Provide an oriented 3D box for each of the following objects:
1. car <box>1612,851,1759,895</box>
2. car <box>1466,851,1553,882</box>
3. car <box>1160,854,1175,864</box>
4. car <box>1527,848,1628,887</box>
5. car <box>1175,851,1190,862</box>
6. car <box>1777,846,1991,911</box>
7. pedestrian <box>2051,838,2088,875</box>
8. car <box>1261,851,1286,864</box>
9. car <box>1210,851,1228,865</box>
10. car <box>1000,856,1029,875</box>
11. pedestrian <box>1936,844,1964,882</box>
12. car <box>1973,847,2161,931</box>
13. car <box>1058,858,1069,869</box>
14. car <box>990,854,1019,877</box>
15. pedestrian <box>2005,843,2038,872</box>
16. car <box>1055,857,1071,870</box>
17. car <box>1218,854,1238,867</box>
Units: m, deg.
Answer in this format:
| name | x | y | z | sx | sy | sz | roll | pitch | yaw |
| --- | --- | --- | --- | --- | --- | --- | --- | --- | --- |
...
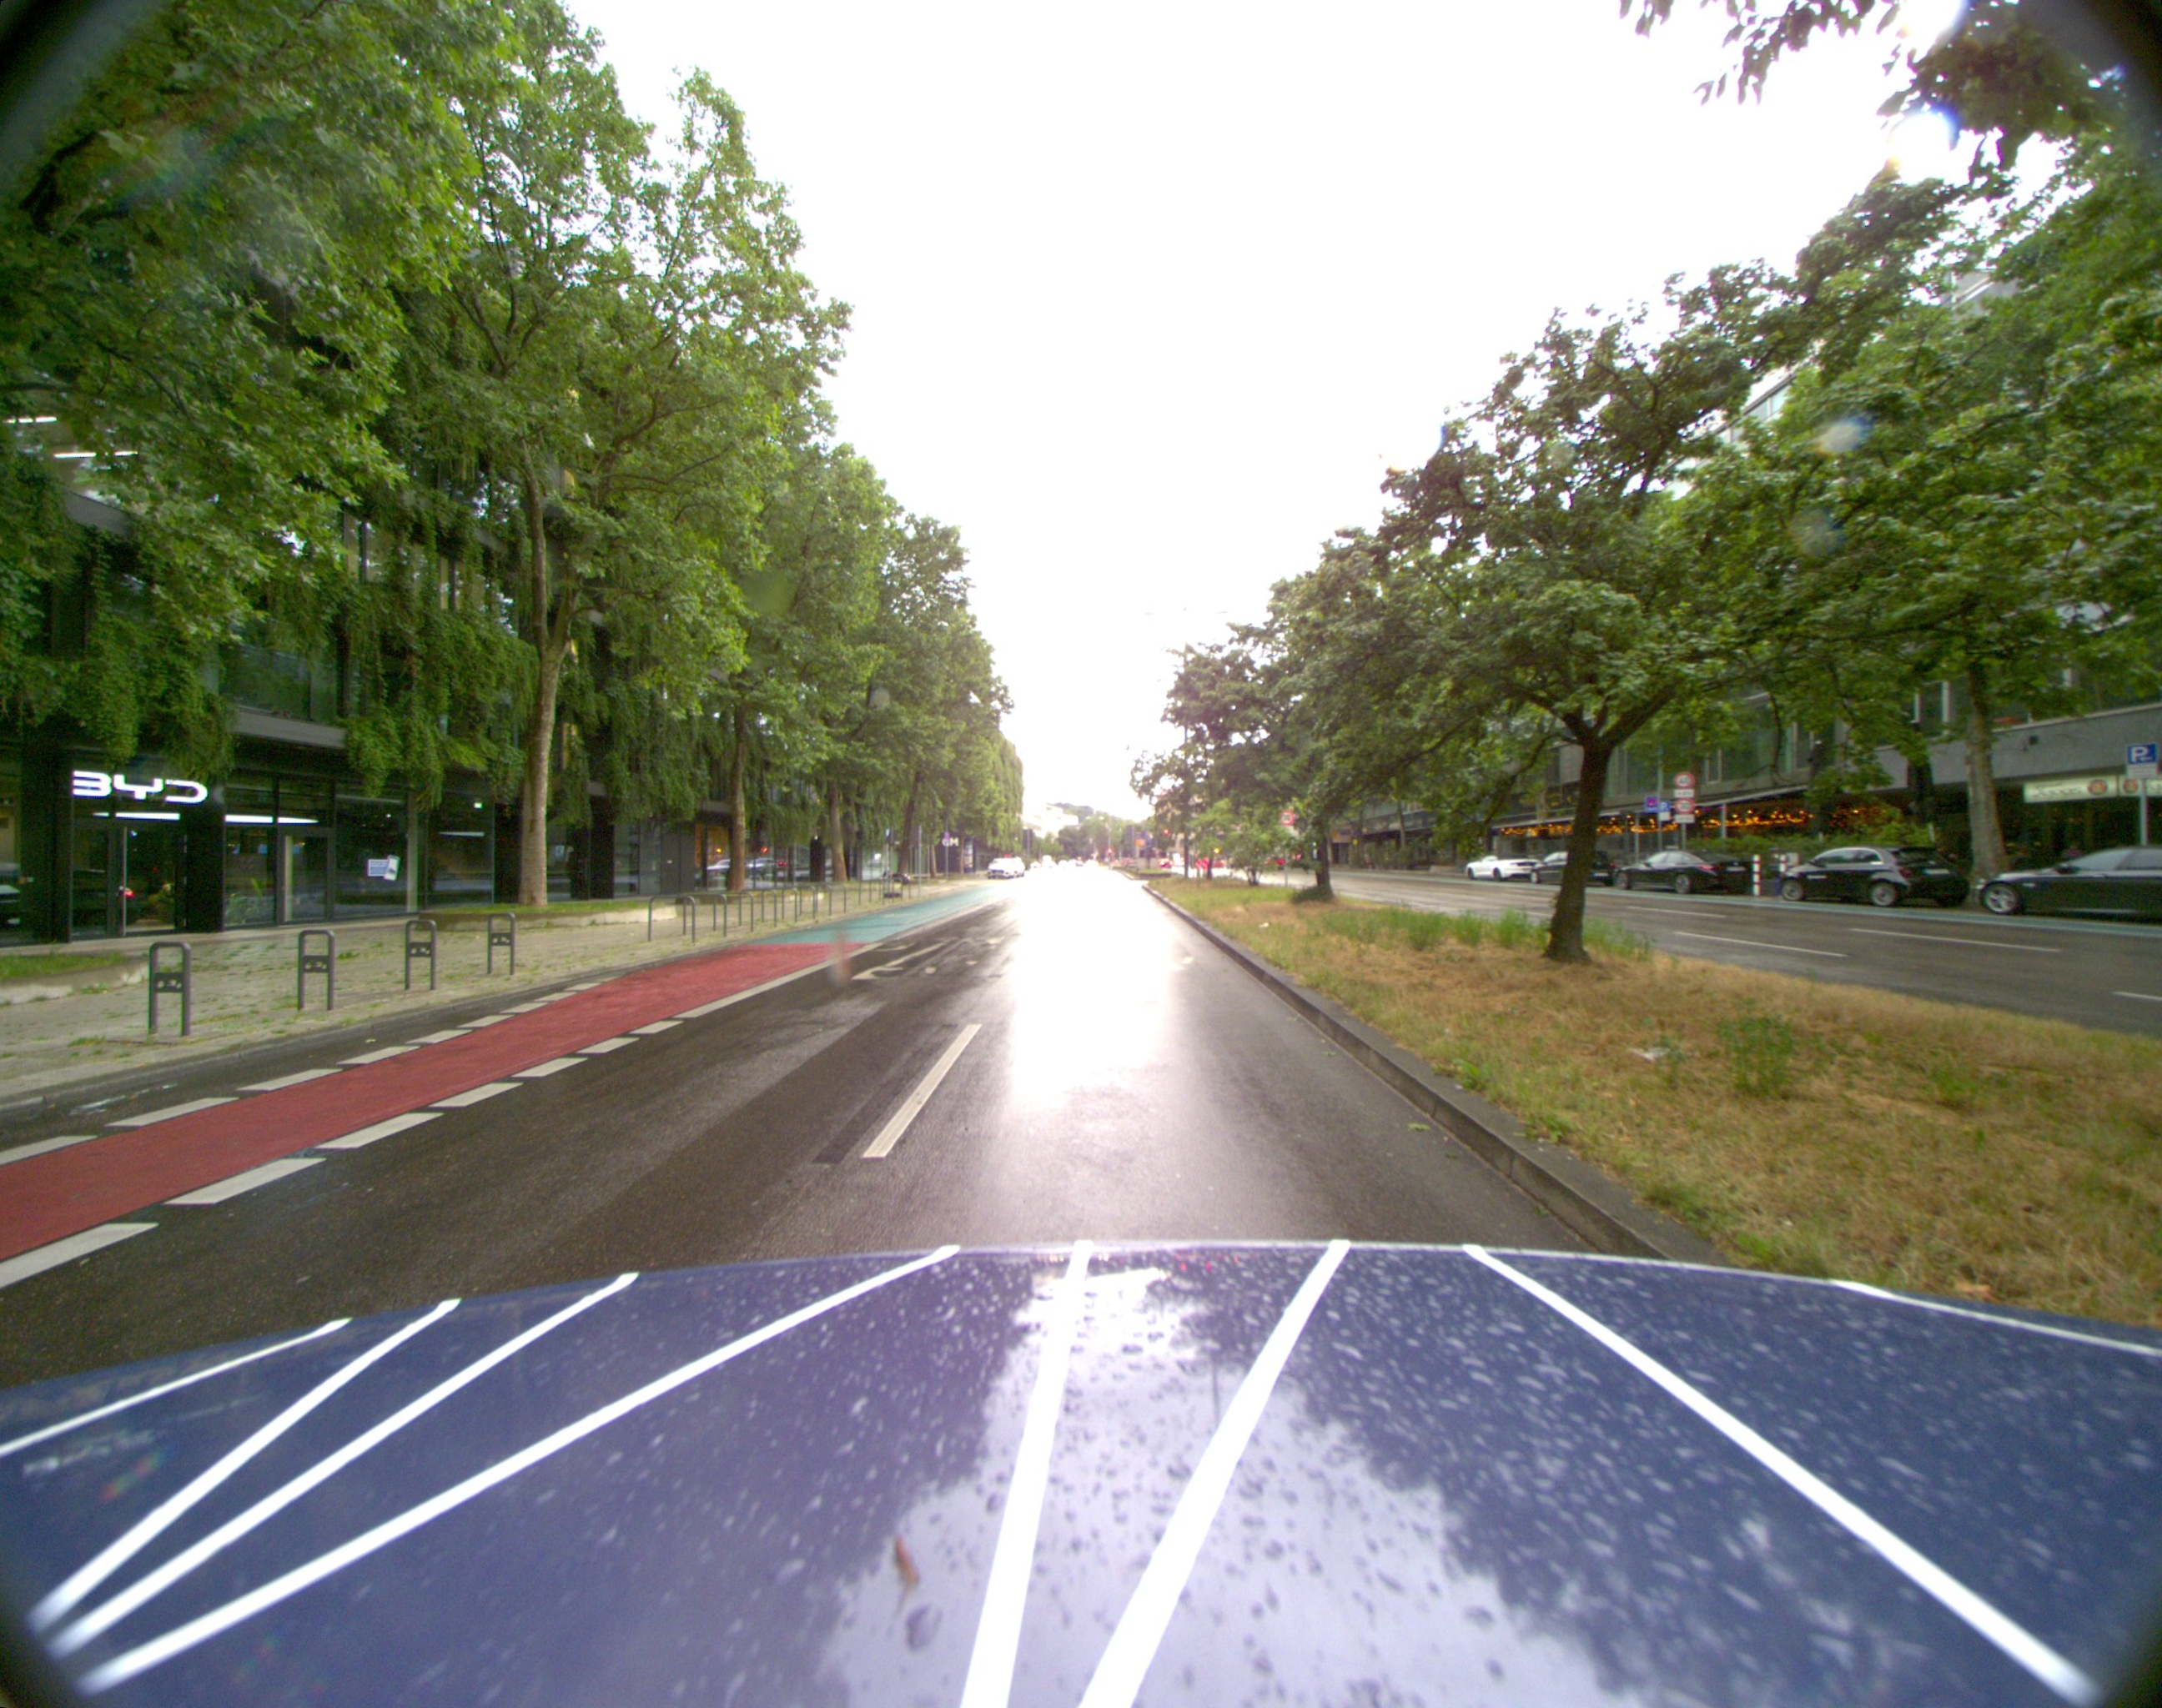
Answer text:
| name | x | y | z | sx | sy | sz | roll | pitch | yaw |
| --- | --- | --- | --- | --- | --- | --- | --- | --- | --- |
| car | 20.071 | 0.572 | 25.503 | 1.647 | 1.232 | 4.319 | -2 | 1 | 3 |
| car | 20.747 | 0.565 | 37.032 | 1.881 | 1.318 | 4.392 | -2 | 1 | 2 |
| car | 12.657 | 0.690 | 111.515 | 1.678 | 1.381 | 3.527 | -2 | 1 | -2 |
| car | 20.424 | 0.514 | 31.447 | 1.750 | 1.445 | 3.788 | -2 | 1 | 2 |
| car | 18.070 | 0.411 | 135.373 | 1.998 | 1.805 | 3.999 | -2 | 1 | 0 |
| car | 20.059 | 0.552 | 19.213 | 1.875 | 1.414 | 3.400 | -2 | 1 | 2 |
| pedestrian | 27.653 | 0.060 | 21.259 | 0.464 | 1.010 | 0.424 | -2 | 1 | -1 |
| car | 20.308 | 0.353 | 80.428 | 1.765 | 1.318 | 3.738 | -2 | 1 | 2 |
| car | 19.531 | 0.575 | 107.630 | 1.938 | 1.776 | 3.955 | -2 | 1 | 2 |
| car | -6.087 | 1.047 | 70.382 | 2.036 | 1.553 | 4.585 | -2 | 1 | 2 |
| pedestrian | 27.732 | 0.277 | 24.244 | 0.446 | 1.179 | 0.466 | -3 | 1 | -22 |
| car | 19.878 | 0.610 | 13.962 | 1.875 | 1.377 | 4.537 | -2 | 1 | 5 |
| car | -2.687 | 1.533 | 120.312 | 1.556 | 1.534 | 3.663 | -2 | 1 | 1 |
| car | -6.433 | 0.970 | 64.352 | 1.932 | 1.726 | 4.598 | -2 | 1 | 0 |
| pedestrian | 27.937 | 0.100 | 22.573 | 0.440 | 0.845 | 0.433 | -2 | 1 | -1 |
| car | -2.198 | 1.191 | 95.422 | 1.780 | 1.546 | 3.929 | -2 | 1 | 1 |
| car | 18.468 | 0.800 | 95.691 | 1.780 | 1.565 | 3.728 | -2 | 1 | 0 |
